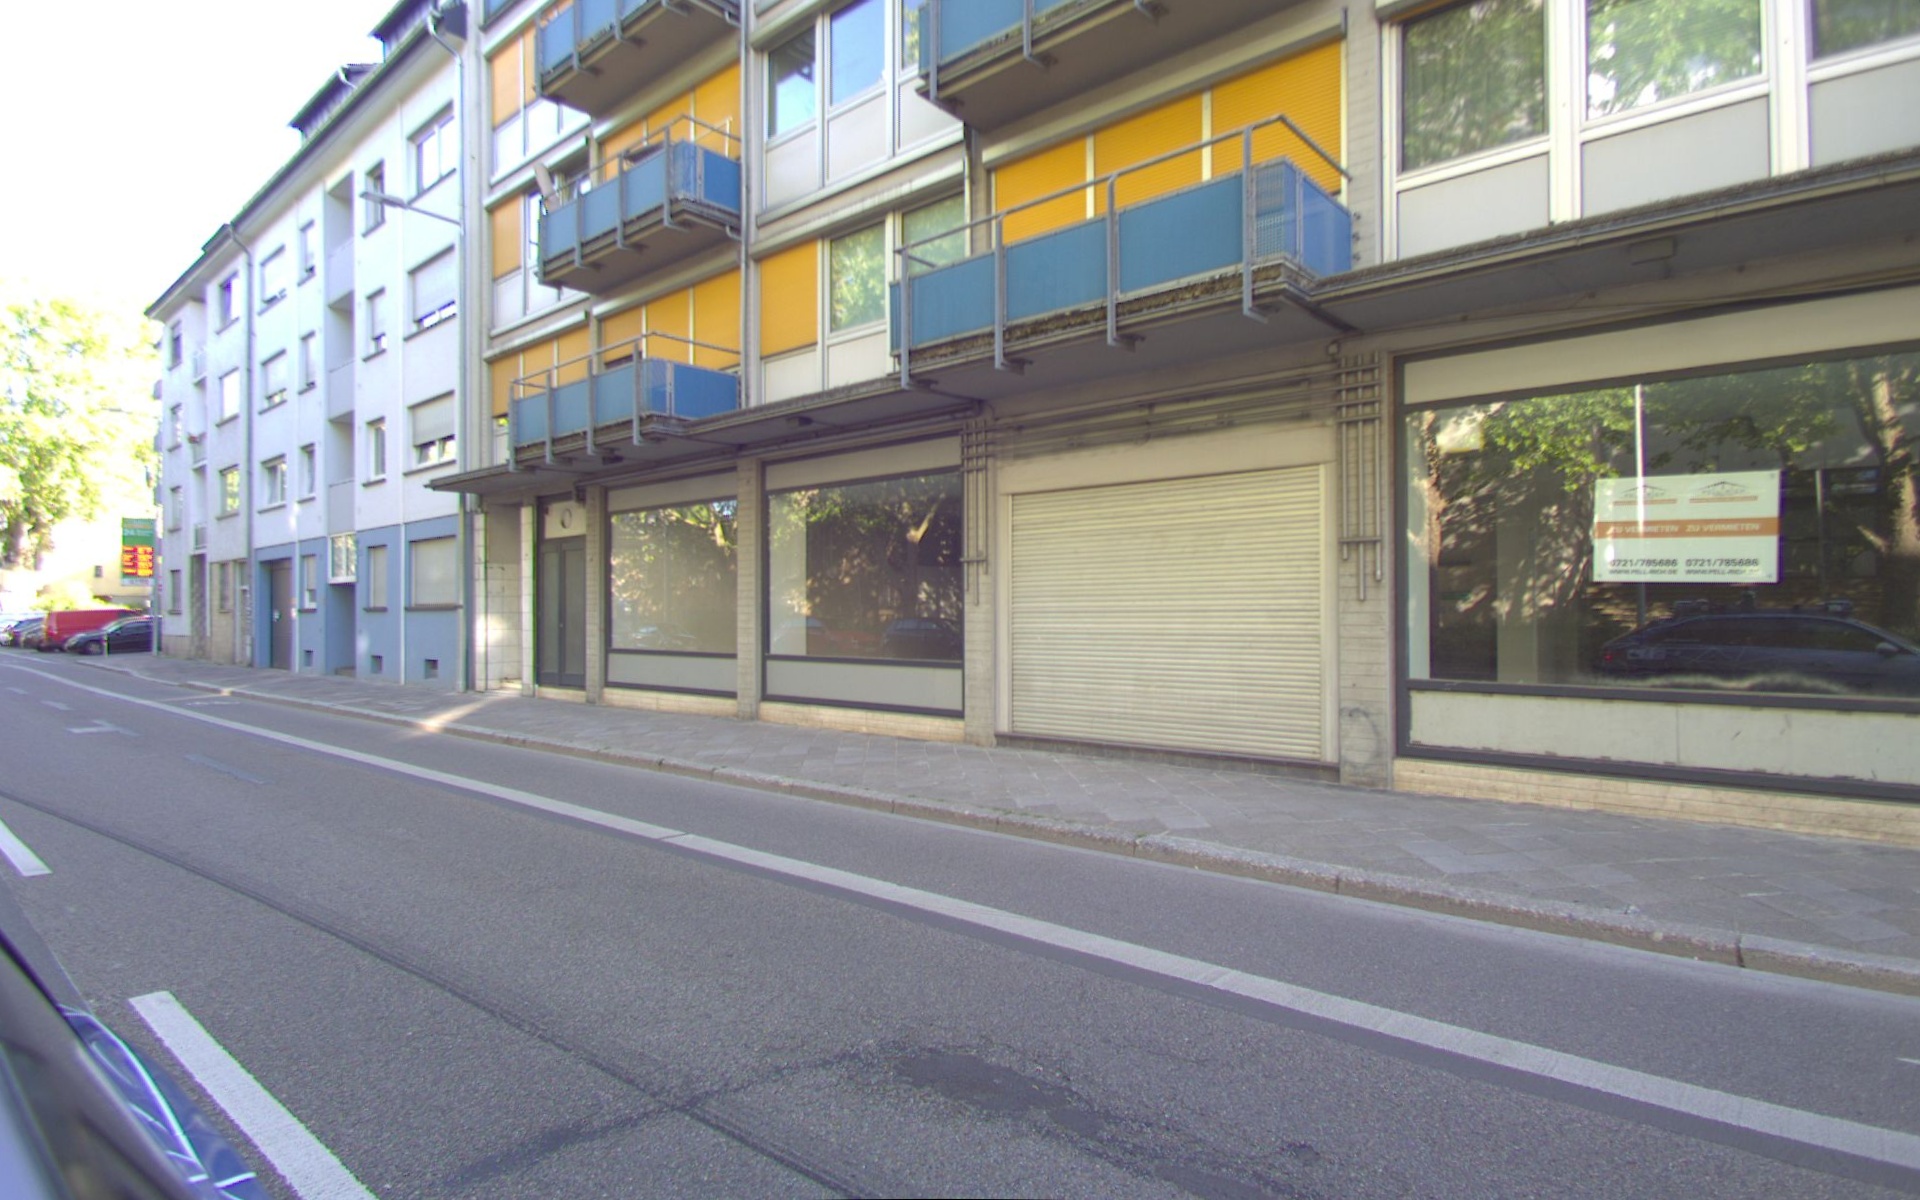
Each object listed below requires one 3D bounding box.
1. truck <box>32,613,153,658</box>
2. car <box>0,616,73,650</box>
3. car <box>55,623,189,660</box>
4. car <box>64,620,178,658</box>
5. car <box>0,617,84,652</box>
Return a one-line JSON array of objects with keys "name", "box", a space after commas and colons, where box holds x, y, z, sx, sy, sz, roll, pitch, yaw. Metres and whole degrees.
[{"name": "truck", "box": [-40.709, 1.643, 47.554, 1.999, 1.939, 4.040, -1, 0, 40]}, {"name": "car", "box": [-59.333, 2.088, 64.380, 2.000, 2.052, 4.180, -1, 0, 43]}, {"name": "car", "box": [-36.482, 1.788, 44.140, 1.657, 1.417, 4.269, -1, 0, 40]}, {"name": "car", "box": [-38.033, 1.725, 45.923, 1.657, 1.583, 3.762, -1, 0, 41]}, {"name": "car", "box": [-56.049, 2.060, 61.451, 2.000, 1.971, 4.180, -1, 0, 43]}]
